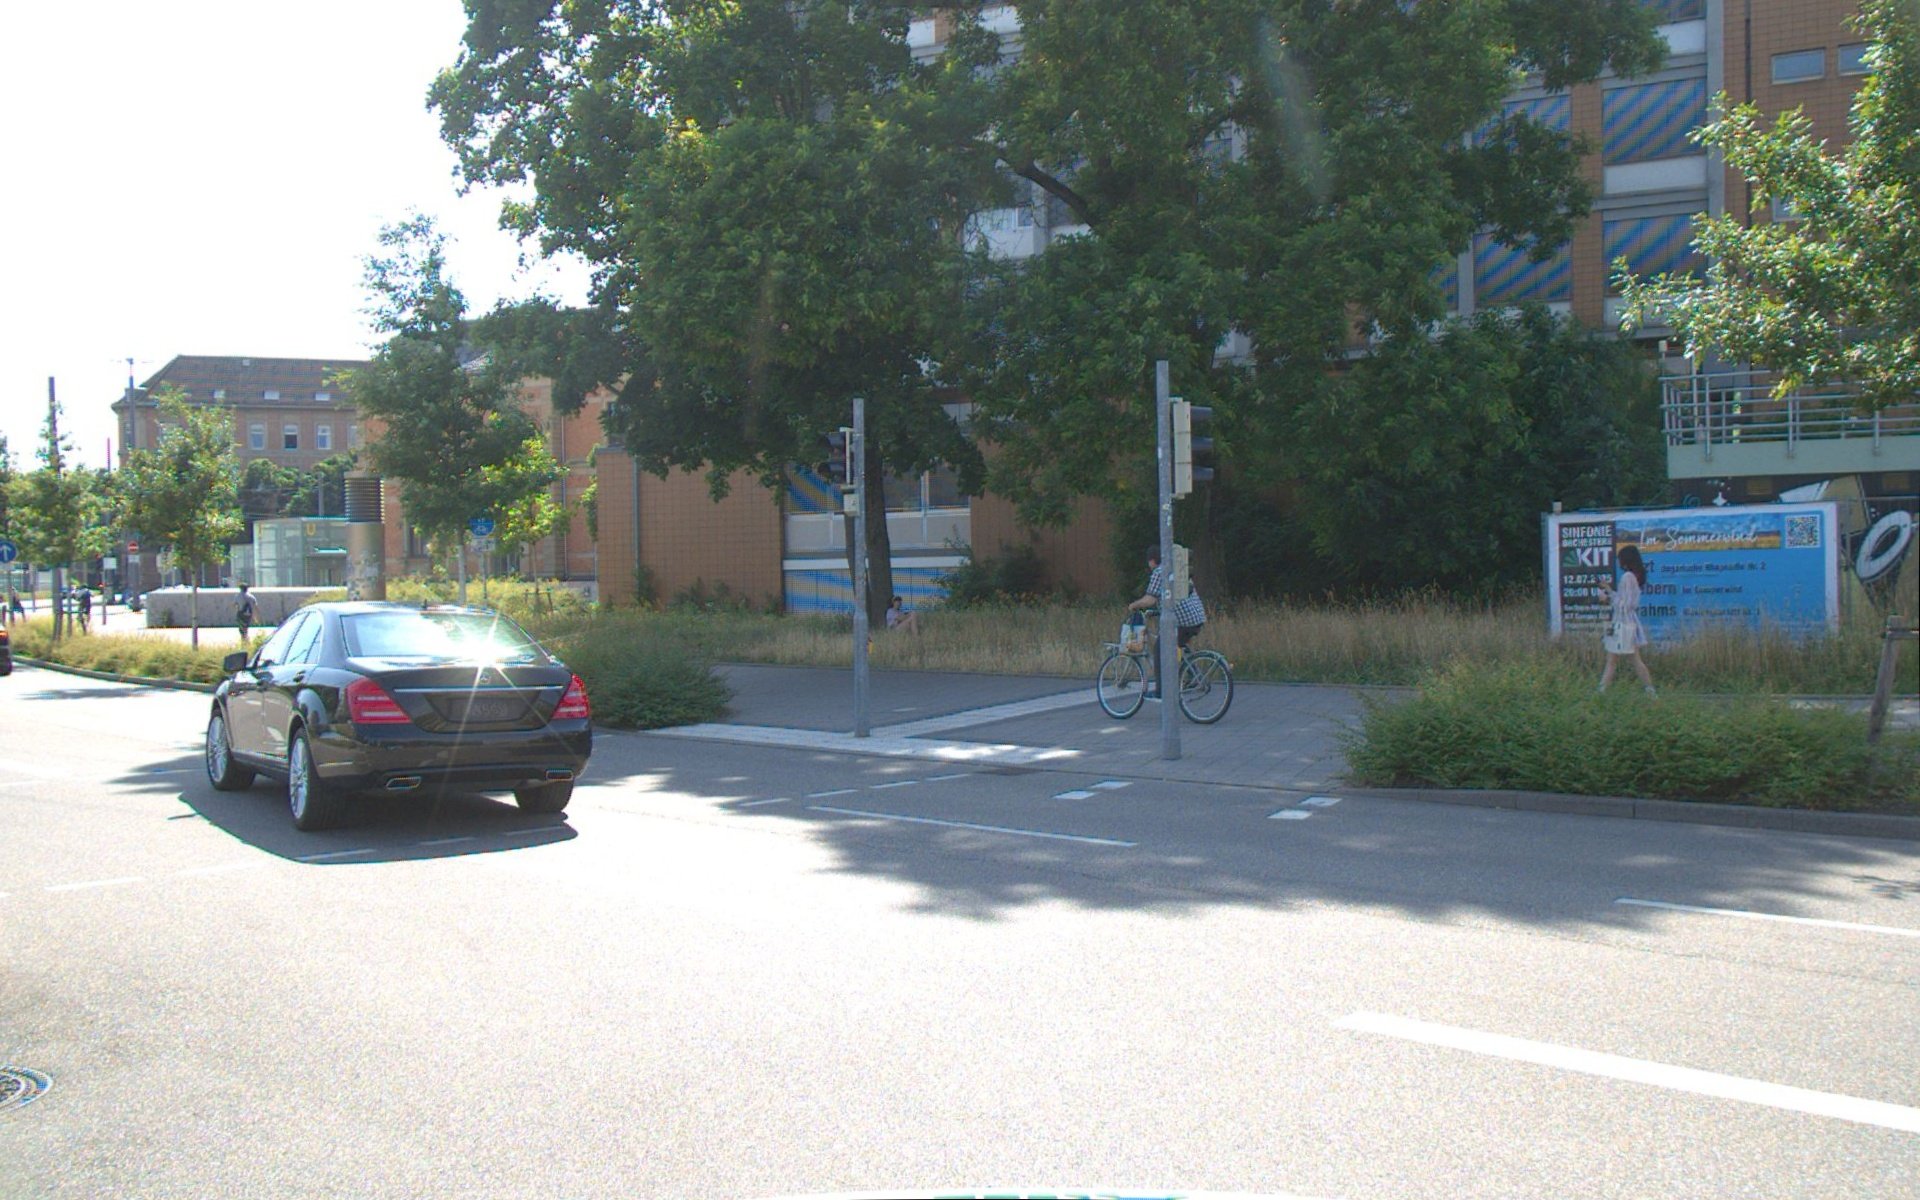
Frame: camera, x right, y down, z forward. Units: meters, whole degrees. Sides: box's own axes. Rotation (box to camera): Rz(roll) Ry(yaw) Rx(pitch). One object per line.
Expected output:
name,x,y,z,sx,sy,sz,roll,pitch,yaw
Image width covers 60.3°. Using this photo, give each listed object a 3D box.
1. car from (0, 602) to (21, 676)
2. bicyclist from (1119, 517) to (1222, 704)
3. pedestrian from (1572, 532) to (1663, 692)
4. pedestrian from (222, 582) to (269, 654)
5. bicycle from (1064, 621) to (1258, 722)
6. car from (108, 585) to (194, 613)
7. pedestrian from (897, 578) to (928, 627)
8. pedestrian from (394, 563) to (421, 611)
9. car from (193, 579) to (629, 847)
car,-21.673,0.833,35.601,1.785,1.537,3.939,0,0,-42
bicyclist,2.220,0.103,17.427,0.842,1.911,0.686,0,1,35
pedestrian,6.816,0.114,17.137,0.795,1.607,0.691,-1,1,28
pedestrian,-17.906,0.436,41.431,0.866,1.755,0.788,-1,1,-41
bicycle,2.119,0.743,17.547,1.919,0.962,0.692,-1,3,36
car,-48.118,-0.051,98.474,1.766,1.536,4.256,0,1,39
pedestrian,-0.886,0.044,30.768,0.420,0.907,0.392,-1,1,35
pedestrian,-19.662,-0.480,58.835,0.637,1.690,0.648,-1,0,34
car,-4.280,0.706,12.347,1.843,1.556,4.656,-2,0,-35
